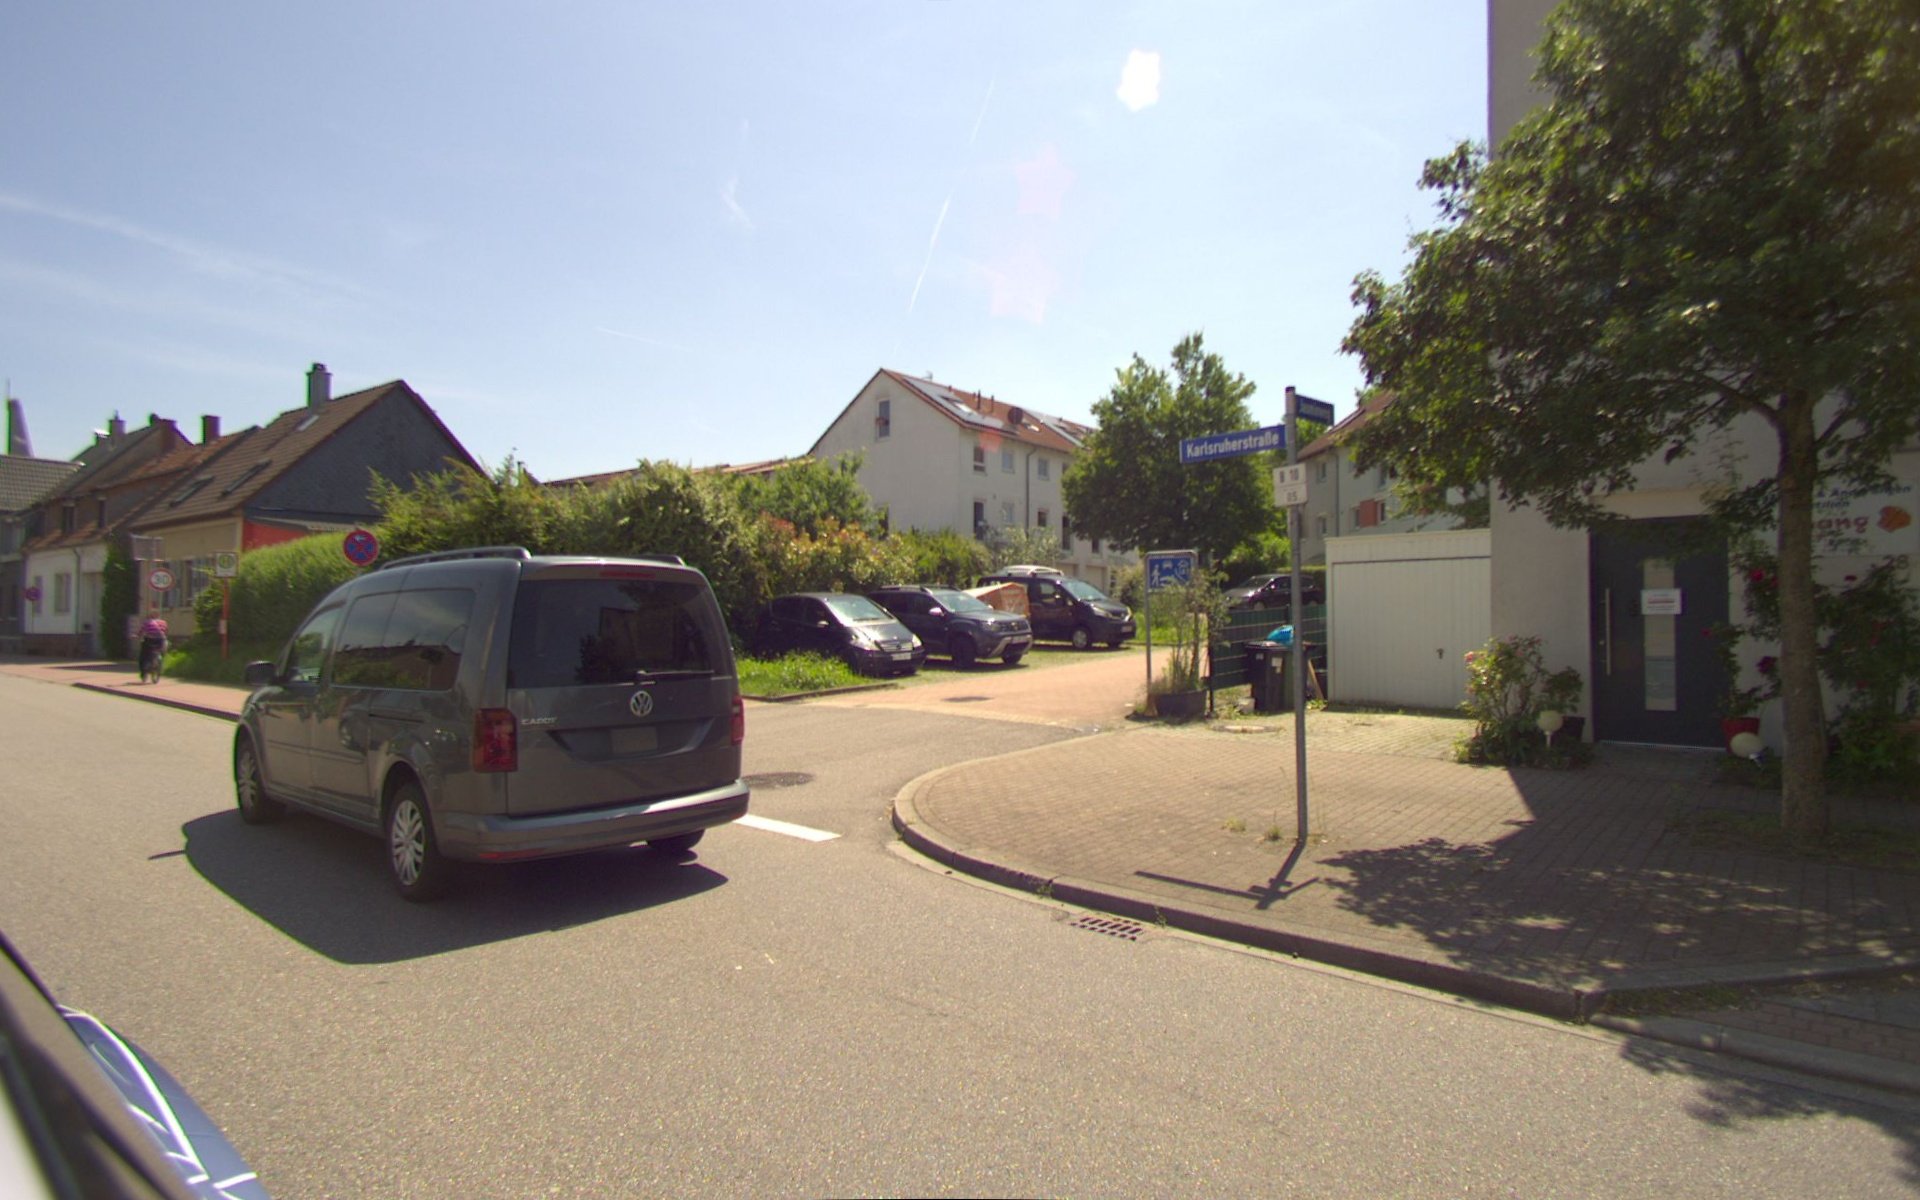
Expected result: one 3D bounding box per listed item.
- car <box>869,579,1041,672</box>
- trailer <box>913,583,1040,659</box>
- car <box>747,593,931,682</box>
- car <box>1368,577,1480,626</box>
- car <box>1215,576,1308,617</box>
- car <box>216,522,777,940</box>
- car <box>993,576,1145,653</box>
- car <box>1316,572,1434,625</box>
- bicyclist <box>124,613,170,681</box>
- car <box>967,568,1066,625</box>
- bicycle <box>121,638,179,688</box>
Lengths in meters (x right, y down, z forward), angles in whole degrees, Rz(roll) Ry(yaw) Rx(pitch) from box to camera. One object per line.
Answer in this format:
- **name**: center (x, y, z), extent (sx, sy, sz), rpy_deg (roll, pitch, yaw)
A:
- **car**: center (-0.158, 0.507, 21.537), extent (3.511, 1.793, 1.605), rpy_deg (-1, 1, 44)
- **trailer**: center (0.389, 0.491, 24.338), extent (2.688, 1.676, 1.413), rpy_deg (-1, 2, 37)
- **car**: center (-2.442, 0.684, 19.903), extent (3.653, 1.552, 1.605), rpy_deg (-1, 1, 44)
- **car**: center (14.731, 0.027, 32.059), extent (3.937, 1.439, 1.695), rpy_deg (-2, 0, -41)
- **car**: center (11.395, -0.122, 38.195), extent (3.580, 1.463, 1.595), rpy_deg (-1, -1, -38)
- **car**: center (-3.269, 0.655, 6.646), extent (4.462, 1.869, 1.638), rpy_deg (-2, -3, 41)
- **car**: center (2.704, 0.346, 25.500), extent (3.552, 1.794, 1.605), rpy_deg (-1, 1, 44)
- **car**: center (14.010, -0.080, 34.130), extent (3.933, 1.635, 1.754), rpy_deg (-2, 1, -33)
- **bicyclist**: center (-18.893, 1.081, 23.515), extent (0.909, 1.505, 0.652), rpy_deg (-1, 1, 40)
- **car**: center (1.891, -0.138, 32.961), extent (1.419, 1.747, 3.594), rpy_deg (-1, 1, 38)
- **bicycle**: center (-18.728, 1.428, 23.386), extent (2.025, 1.064, 0.664), rpy_deg (-1, 1, 41)
